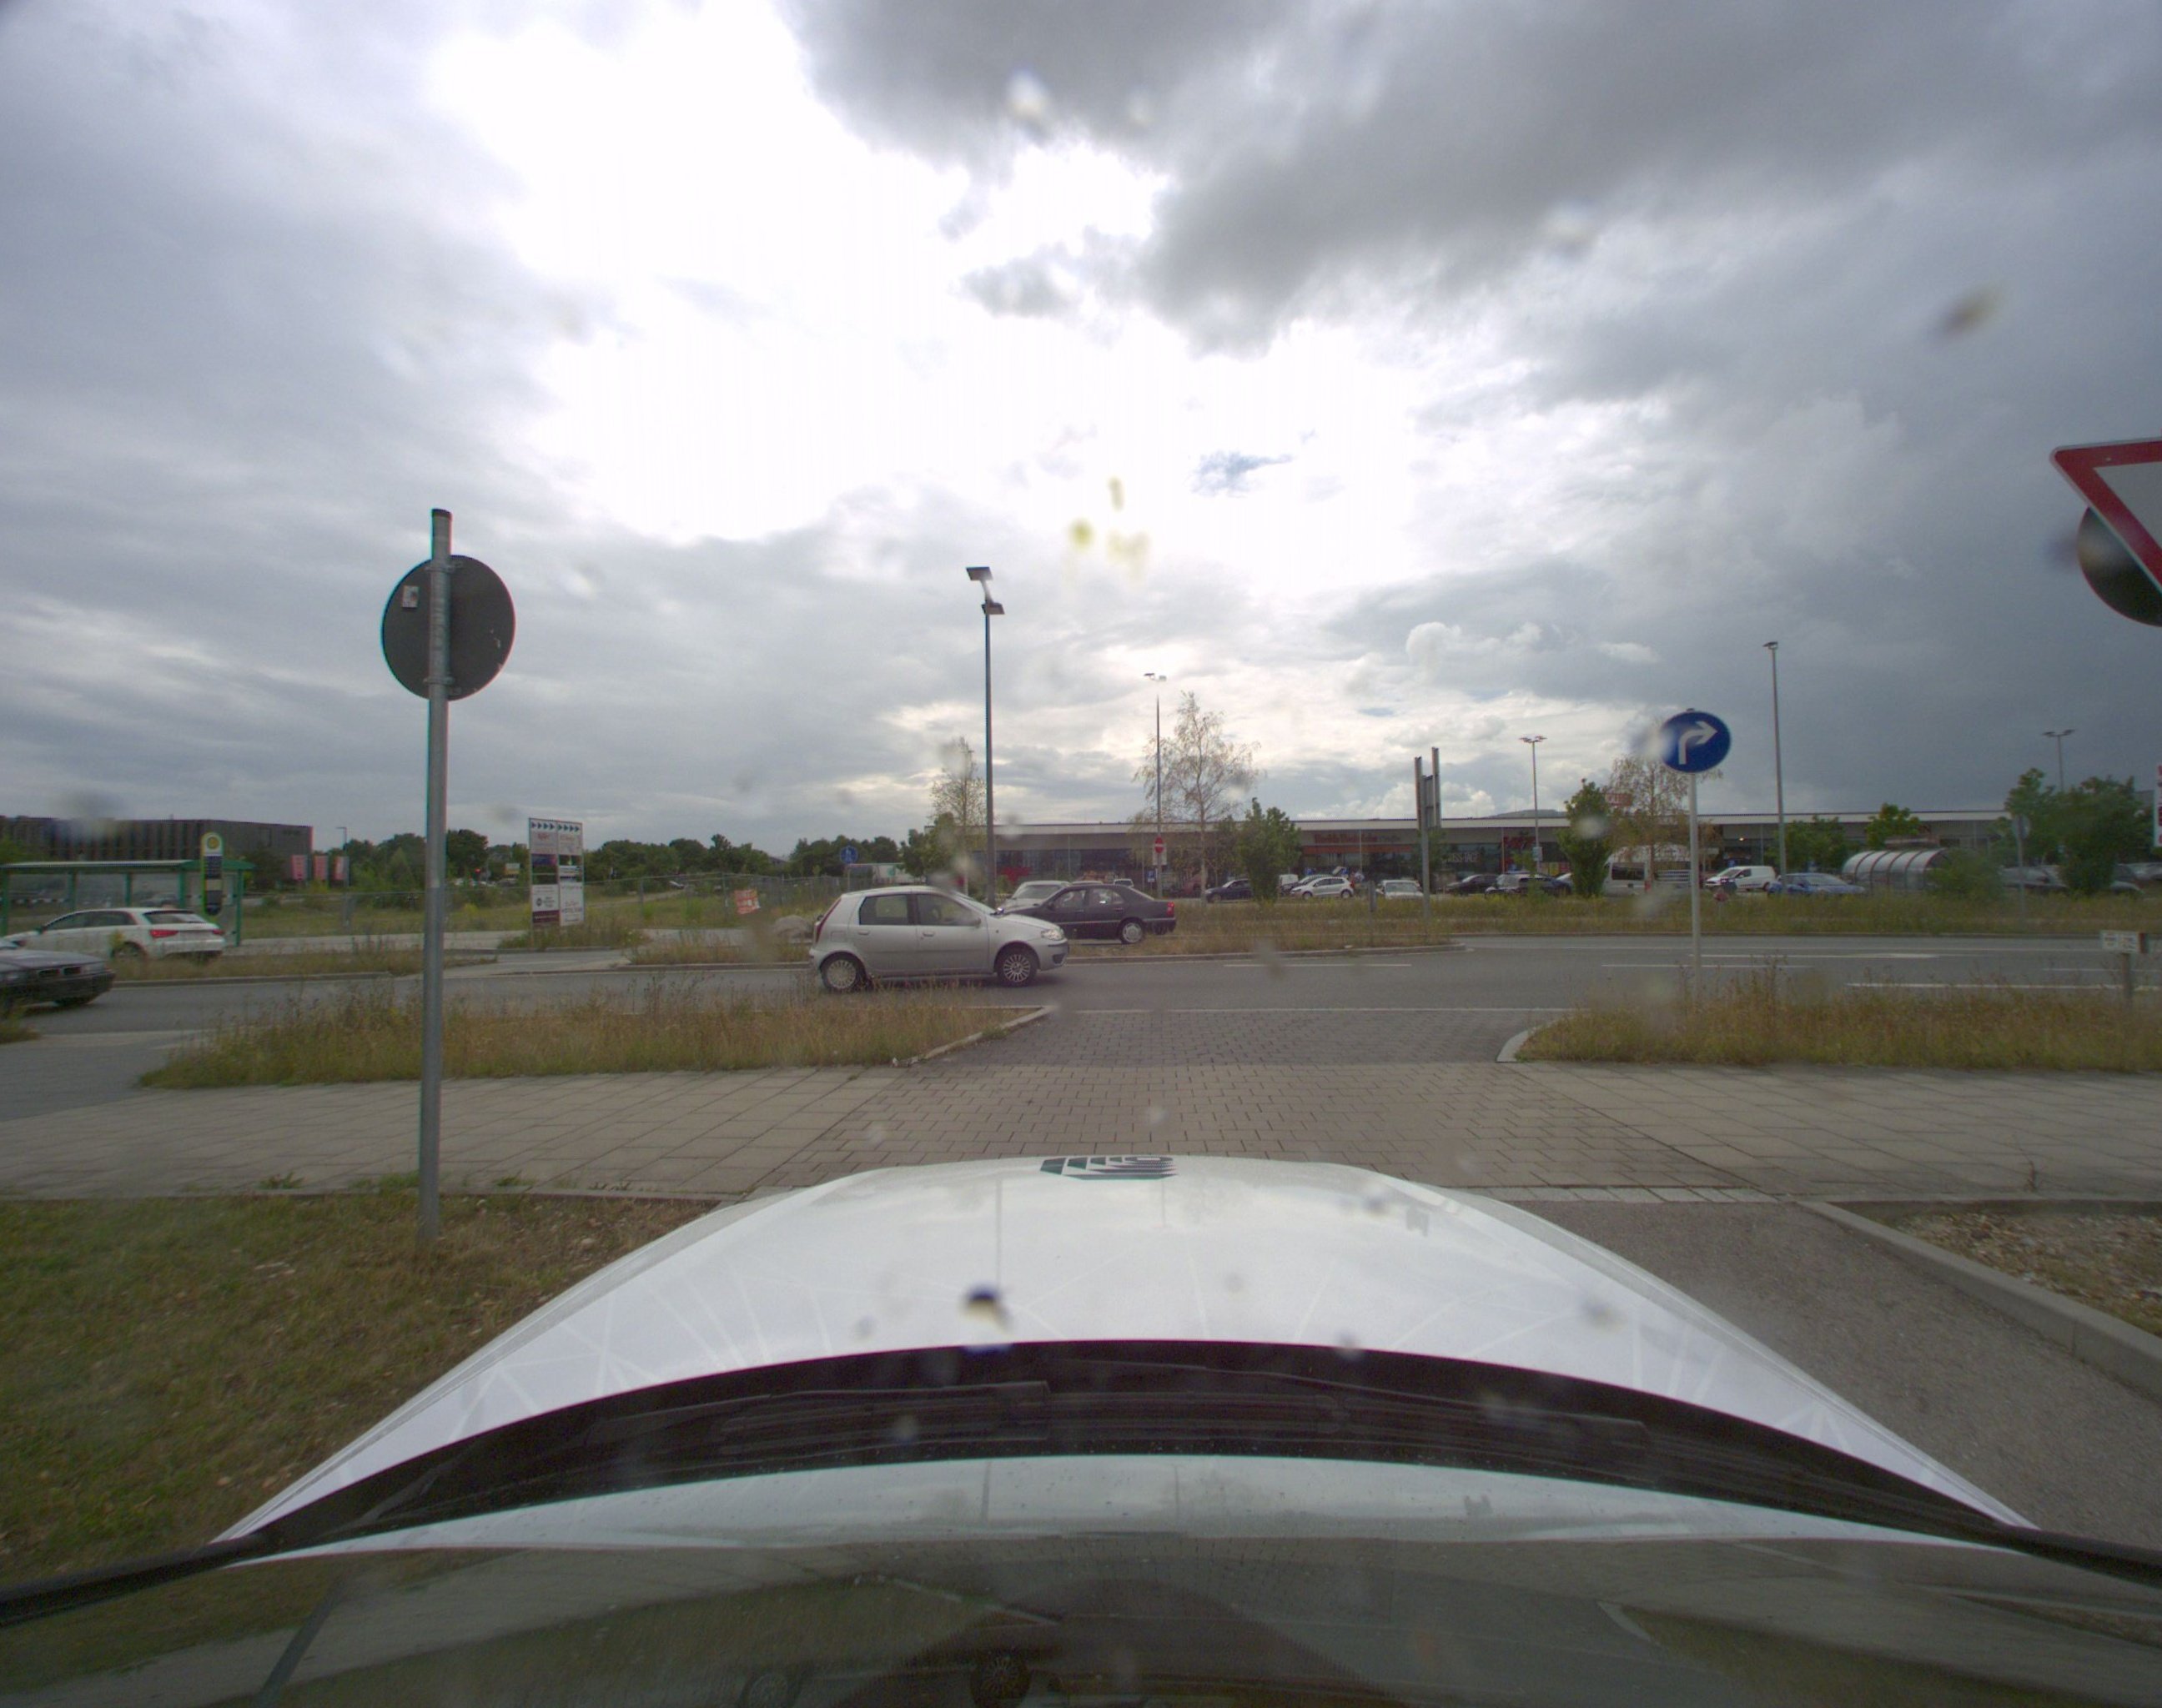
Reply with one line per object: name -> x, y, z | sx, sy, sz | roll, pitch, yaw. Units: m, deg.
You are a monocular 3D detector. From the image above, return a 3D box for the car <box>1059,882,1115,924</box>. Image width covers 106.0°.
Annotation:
car -> 0.319, 1.814, 31.109 | 1.771, 1.446, 4.615 | -1, -2, 5

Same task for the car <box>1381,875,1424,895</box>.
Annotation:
car -> 25.467, 2.436, 64.565 | 1.985, 1.508, 4.003 | -1, -2, 3

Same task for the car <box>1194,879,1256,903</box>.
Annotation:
car -> 9.026, 2.331, 51.329 | 3.595, 1.454, 1.667 | -1, -2, 0

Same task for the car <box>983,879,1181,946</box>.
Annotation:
car -> 0.077, 1.345, 18.843 | 4.337, 1.396, 1.792 | -1, -3, 4

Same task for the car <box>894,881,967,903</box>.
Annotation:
car -> -10.903, 2.748, 59.354 | 4.997, 1.558, 1.997 | 0, -2, -4

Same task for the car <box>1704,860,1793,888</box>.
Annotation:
car -> 45.104, 1.341, 55.091 | 4.402, 1.819, 1.998 | 0, -2, -2

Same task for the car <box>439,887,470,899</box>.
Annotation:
car -> -84.105, 5.176, 109.369 | 1.673, 1.486, 3.633 | -1, -2, -7

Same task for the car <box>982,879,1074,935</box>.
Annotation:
car -> -1.444, 1.486, 23.907 | 1.781, 1.467, 4.331 | -1, -2, 9

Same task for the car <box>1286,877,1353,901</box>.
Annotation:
car -> 15.042, 2.209, 51.487 | 3.733, 1.454, 1.668 | -1, -2, 1

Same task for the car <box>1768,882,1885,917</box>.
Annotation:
car -> 30.835, 1.859, 33.870 | 1.791, 1.384, 4.165 | -1, -2, 14

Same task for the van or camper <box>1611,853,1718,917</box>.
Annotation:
van or camper -> 24.252, 1.274, 34.046 | 2.266, 2.492, 4.015 | -1, -2, 14

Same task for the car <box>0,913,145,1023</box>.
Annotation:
car -> -16.471, 1.609, 11.576 | 4.272, 1.387, 1.759 | -1, -2, 0

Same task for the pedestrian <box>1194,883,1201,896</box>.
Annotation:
pedestrian -> 10.498, 3.213, 73.445 | 0.574, 1.124, 0.561 | -1, -2, -3

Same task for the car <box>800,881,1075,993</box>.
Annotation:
car -> -2.066, 1.178, 12.339 | 3.798, 1.461, 1.797 | -1, -2, -6

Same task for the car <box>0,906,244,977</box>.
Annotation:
car -> -22.301, 1.976, 18.755 | 4.033, 1.481, 1.756 | 0, -2, -3

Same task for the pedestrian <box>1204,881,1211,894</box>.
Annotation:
pedestrian -> 11.259, 2.990, 72.485 | 0.574, 1.124, 0.561 | -1, -2, -3

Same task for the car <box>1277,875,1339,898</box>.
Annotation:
car -> 15.173, 2.151, 54.559 | 3.733, 1.454, 1.668 | -1, -2, 1

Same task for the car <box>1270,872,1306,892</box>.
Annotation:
car -> 16.454, 2.194, 64.937 | 1.985, 1.508, 4.003 | -1, -2, 3

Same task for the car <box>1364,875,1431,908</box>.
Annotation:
car -> 14.284, 1.693, 36.941 | 1.977, 1.384, 4.159 | -1, -2, 9

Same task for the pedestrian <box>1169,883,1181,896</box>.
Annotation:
pedestrian -> 8.500, 3.232, 73.864 | 0.968, 1.154, 1.132 | -1, -2, -1

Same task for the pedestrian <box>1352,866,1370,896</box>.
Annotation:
pedestrian -> 19.136, 1.811, 55.687 | 0.860, 2.014, 1.005 | -1, -2, 6

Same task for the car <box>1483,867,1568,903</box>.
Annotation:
car -> 19.463, 1.361, 35.876 | 1.977, 1.451, 4.159 | -1, -2, 9

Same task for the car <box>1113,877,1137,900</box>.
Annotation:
car -> 3.510, 2.727, 64.597 | 1.816, 1.700, 4.237 | -1, -1, 4

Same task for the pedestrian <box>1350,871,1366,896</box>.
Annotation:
pedestrian -> 18.448, 1.994, 54.267 | 0.817, 1.632, 0.900 | -1, -3, 6

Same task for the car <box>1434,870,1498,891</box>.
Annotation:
car -> 29.542, 2.052, 62.649 | 3.971, 1.508, 2.001 | -1, -2, 2
